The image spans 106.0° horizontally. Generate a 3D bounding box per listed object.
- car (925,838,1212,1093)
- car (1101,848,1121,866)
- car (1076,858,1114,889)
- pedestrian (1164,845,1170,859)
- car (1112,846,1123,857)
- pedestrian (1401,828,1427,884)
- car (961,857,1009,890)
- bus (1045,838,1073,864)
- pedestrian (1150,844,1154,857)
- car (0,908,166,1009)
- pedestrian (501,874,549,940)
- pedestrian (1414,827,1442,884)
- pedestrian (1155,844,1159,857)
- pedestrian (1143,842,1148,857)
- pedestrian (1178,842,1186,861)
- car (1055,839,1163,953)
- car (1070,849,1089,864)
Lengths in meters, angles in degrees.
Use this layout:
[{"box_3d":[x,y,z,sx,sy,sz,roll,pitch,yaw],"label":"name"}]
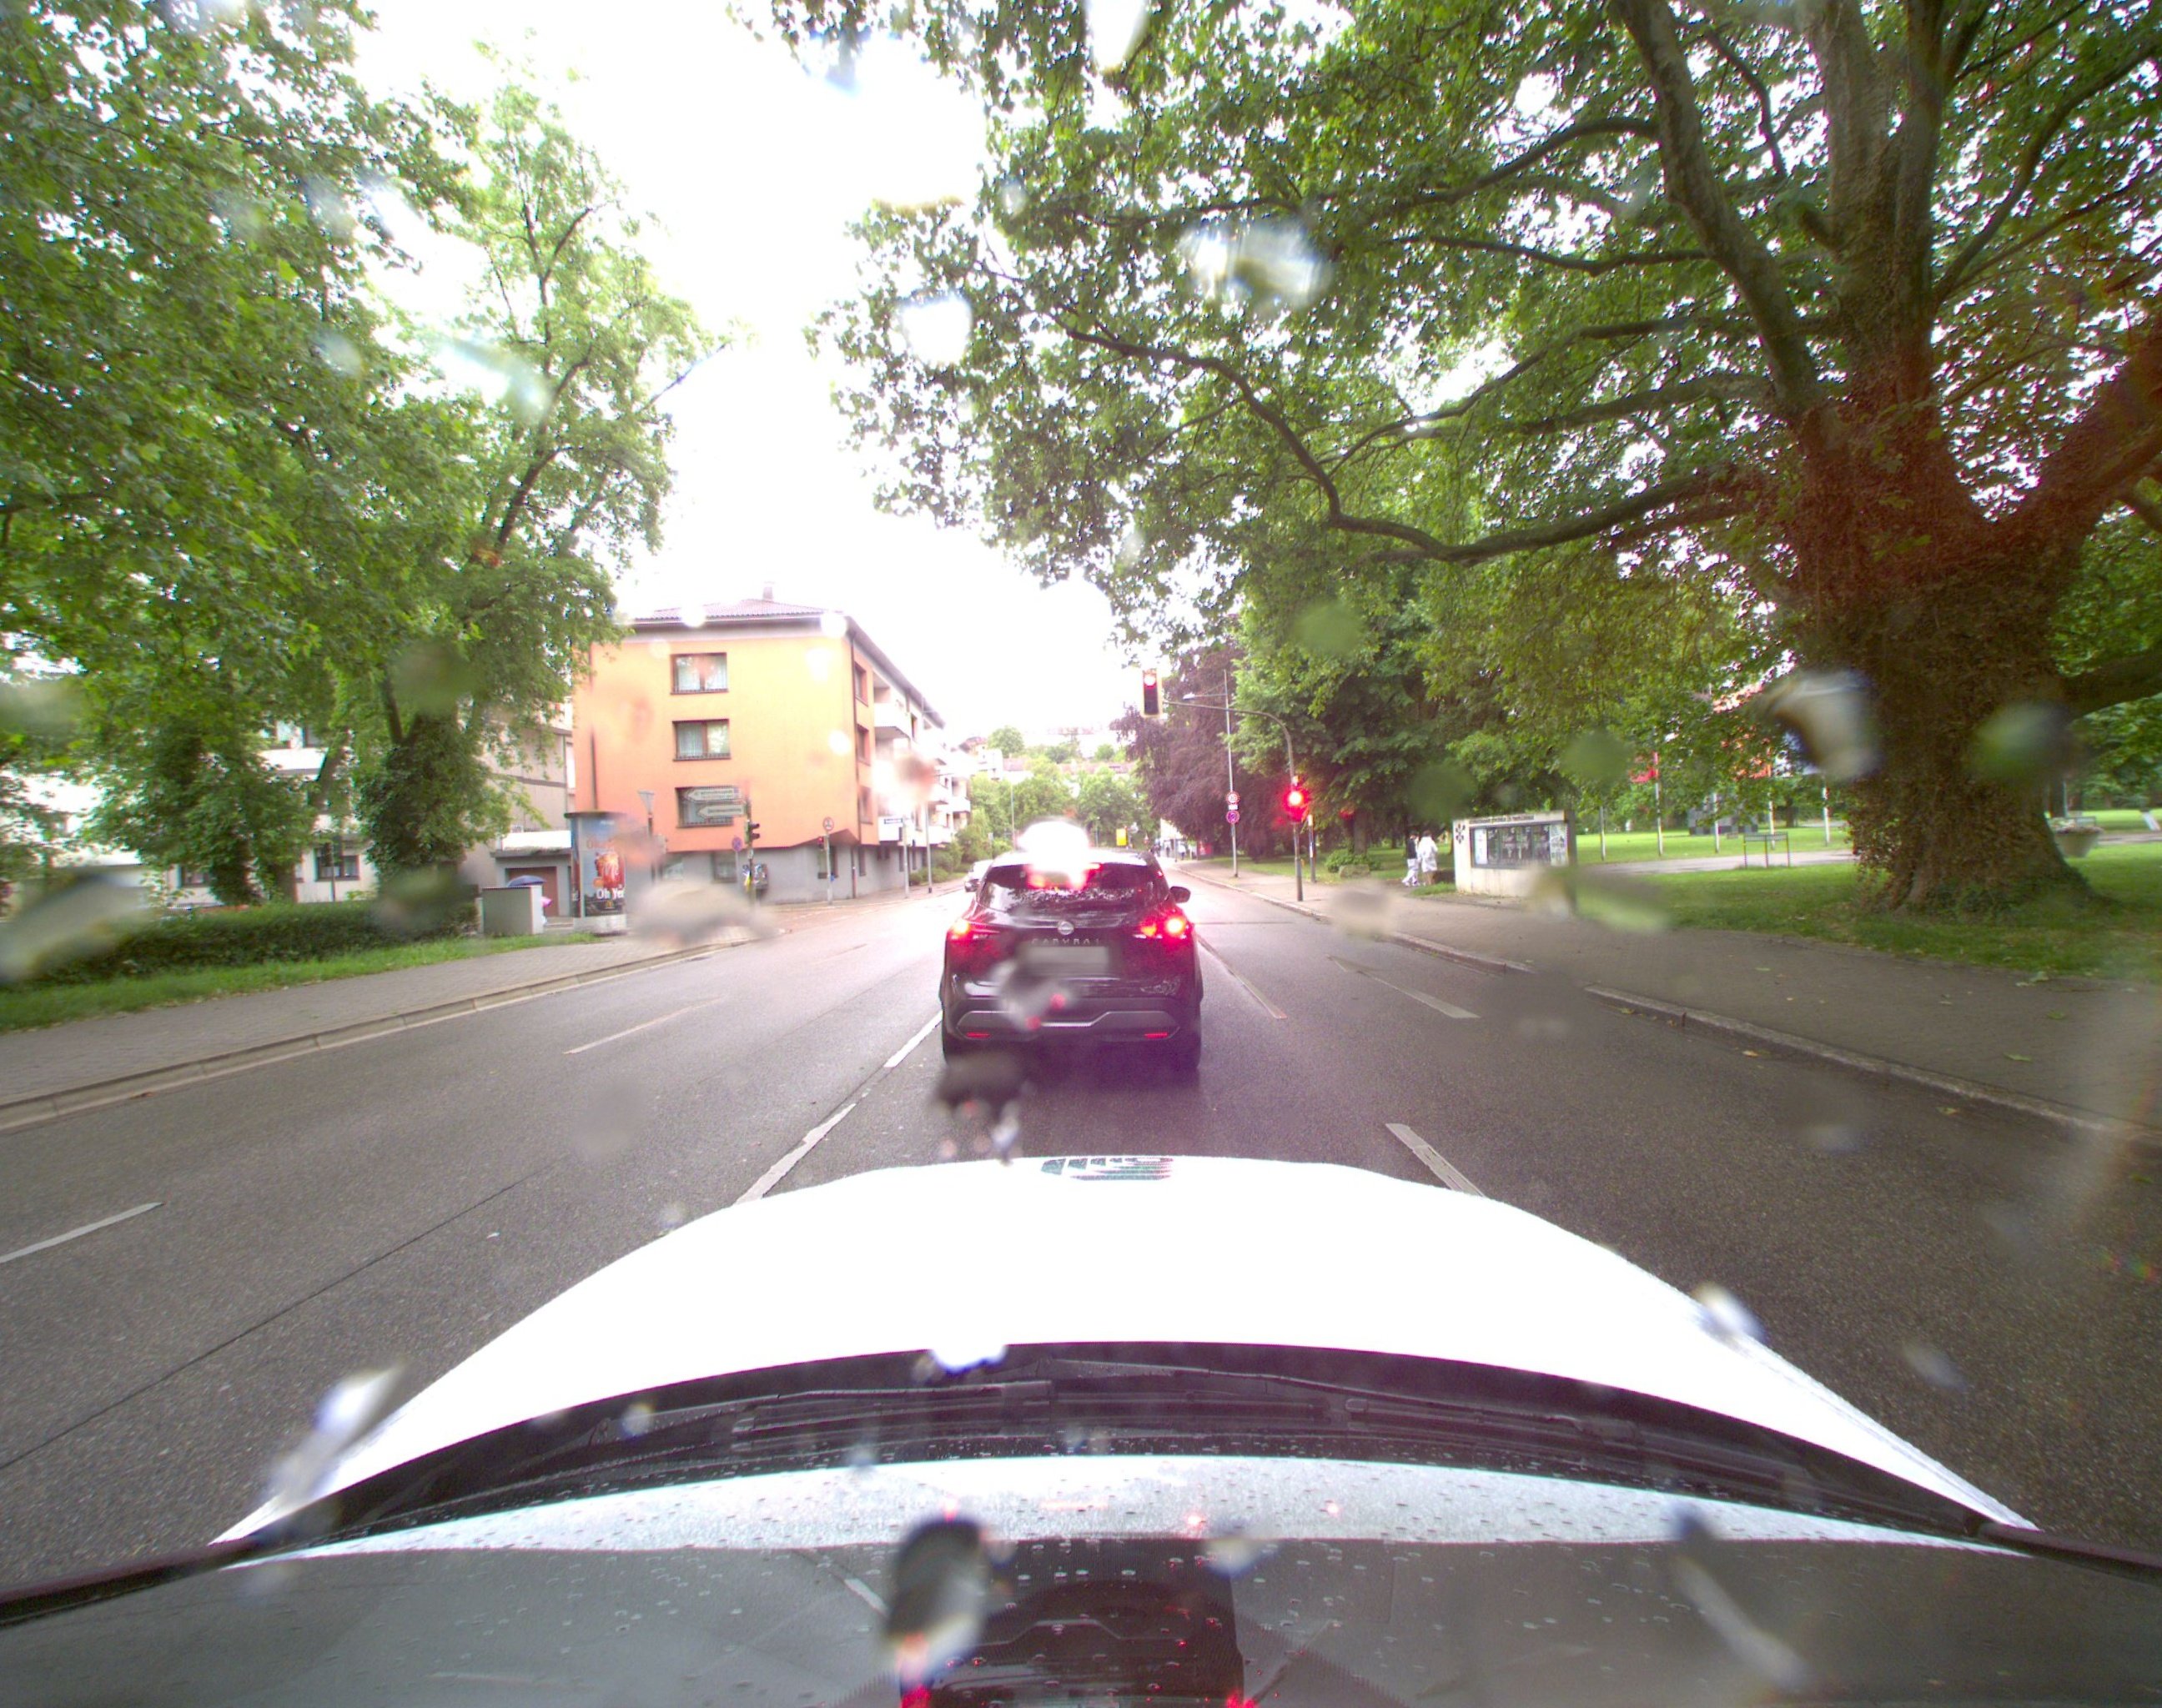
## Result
[{"box_3d":[-0.018,0.719,7.136,1.799,1.590,4.001,0,-1,2],"label":"car"},{"box_3d":[2.589,0.245,70.169,1.618,1.415,3.456,-3,0,2],"label":"car"},{"box_3d":[0.715,0.944,41.196,1.802,1.417,4.031,-2,0,1],"label":"car"},{"box_3d":[10.750,-0.275,101.572,0.616,1.779,0.551,-3,0,1],"label":"pedestrian"},{"box_3d":[6.169,-0.427,136.504,1.743,1.633,3.636,-3,0,2],"label":"car"},{"box_3d":[10.537,0.053,25.795,0.484,1.721,0.559,-3,0,-5],"label":"pedestrian"},{"box_3d":[-4.810,0.968,41.209,1.802,1.417,4.031,-4,0,1],"label":"car"},{"box_3d":[-2.694,-0.374,102.929,2.756,2.974,11.786,-3,0,2],"label":"bus"},{"box_3d":[9.593,-0.484,110.216,0.542,1.651,0.490,0,-1,2],"label":"pedestrian"},{"box_3d":[-18.004,1.738,13.812,3.182,1.524,1.507,0,-1,-1],"label":"car"},{"box_3d":[-15.419,1.440,22.606,0.998,1.742,1.198,0,0,-30],"label":"pedestrian"},{"box_3d":[10.633,0.045,24.968,0.502,1.721,0.559,-3,0,-5],"label":"pedestrian"},{"box_3d":[10.212,-0.474,109.066,0.513,1.655,0.550,0,-1,1],"label":"pedestrian"},{"box_3d":[9.636,-0.625,121.189,0.764,2.183,0.712,0,-1,5],"label":"pedestrian"},{"box_3d":[10.088,-0.256,81.270,0.616,1.779,0.779,-3,0,1],"label":"pedestrian"},{"box_3d":[0.560,0.660,14.804,1.615,1.709,3.774,-3,0,3],"label":"car"},{"box_3d":[-0.171,0.234,79.749,1.618,1.415,3.456,-3,0,2],"label":"car"}]
